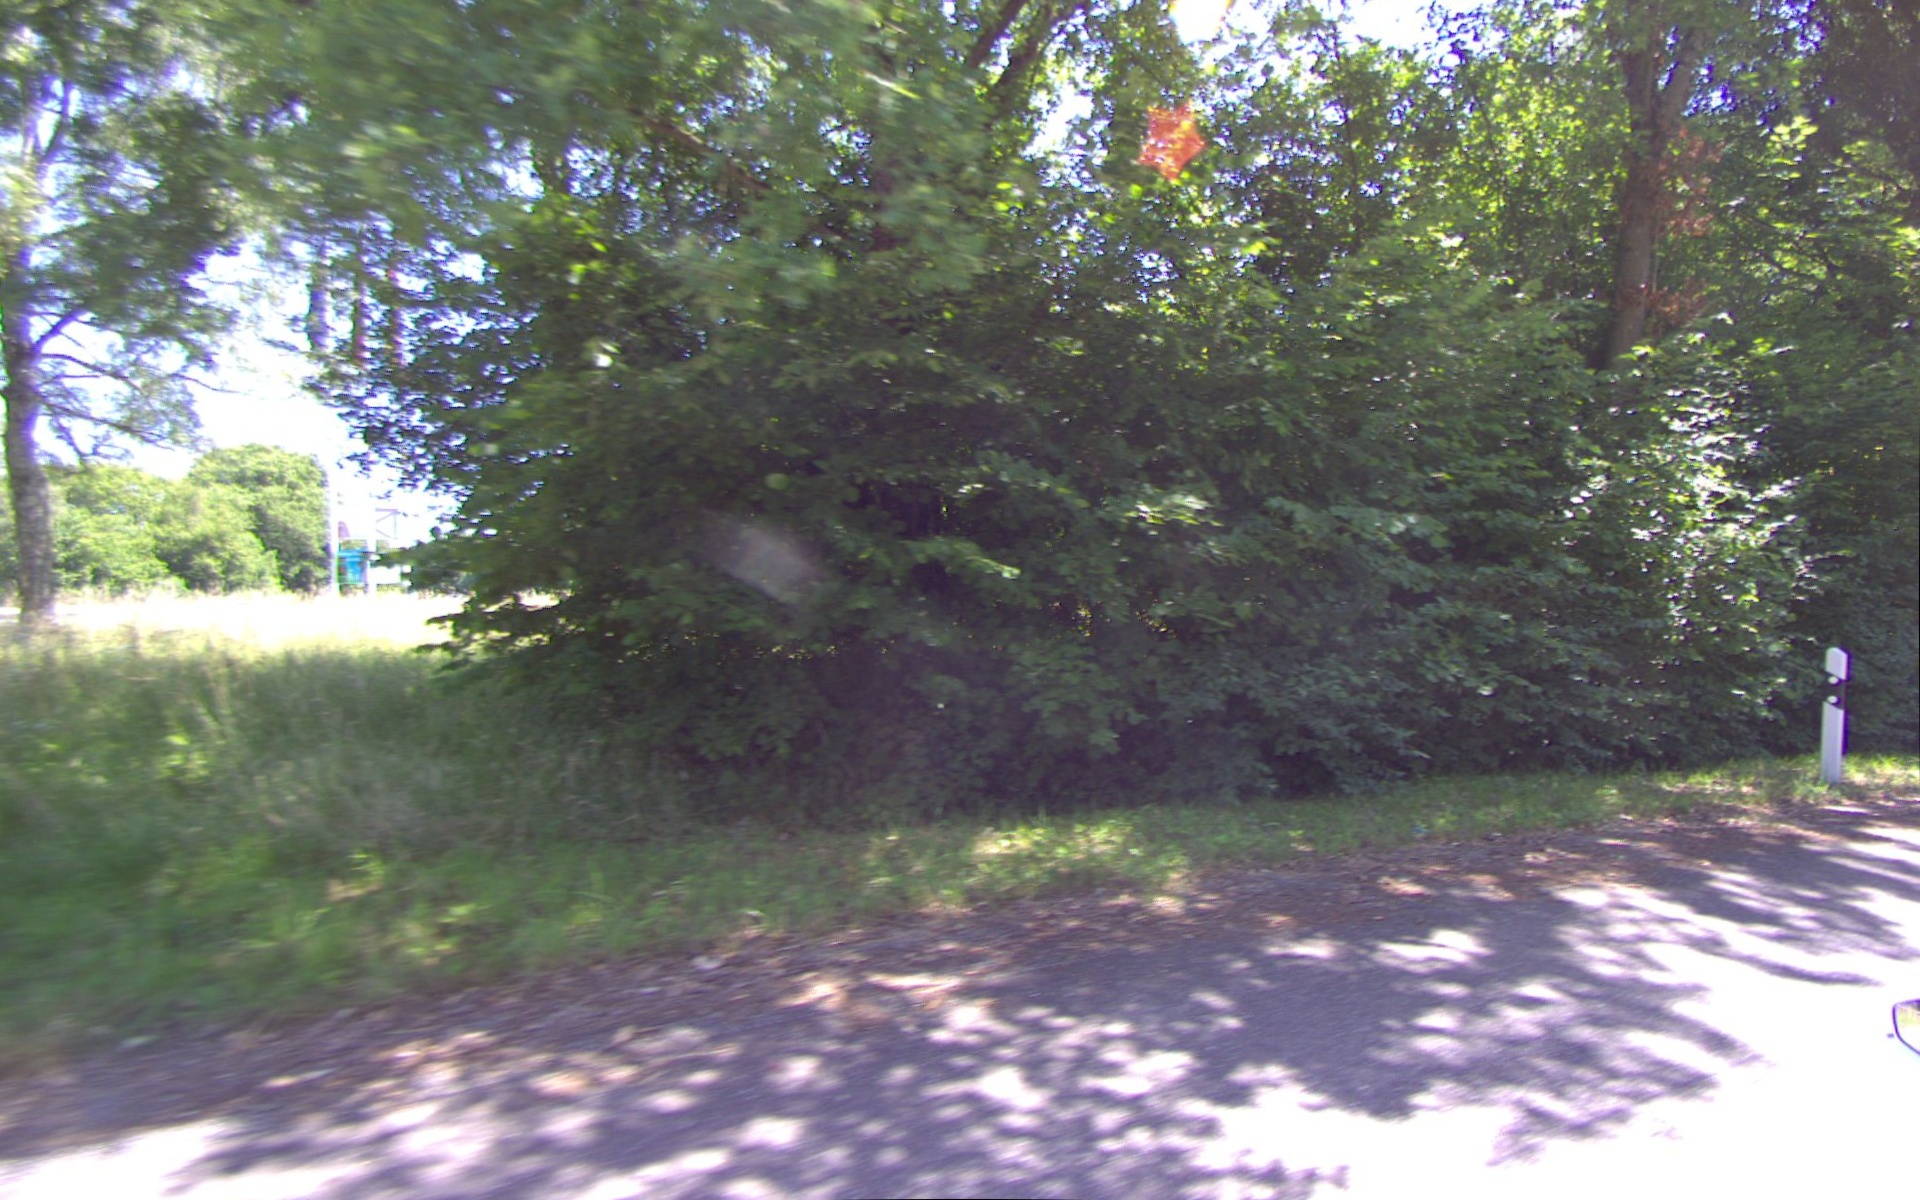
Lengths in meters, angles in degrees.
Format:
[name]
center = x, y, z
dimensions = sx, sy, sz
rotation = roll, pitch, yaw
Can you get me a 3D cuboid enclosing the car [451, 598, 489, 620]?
[car]
center = -35.650, 0.665, 73.217
dimensions = 1.491, 1.521, 3.583
rotation = -3, 0, -10
